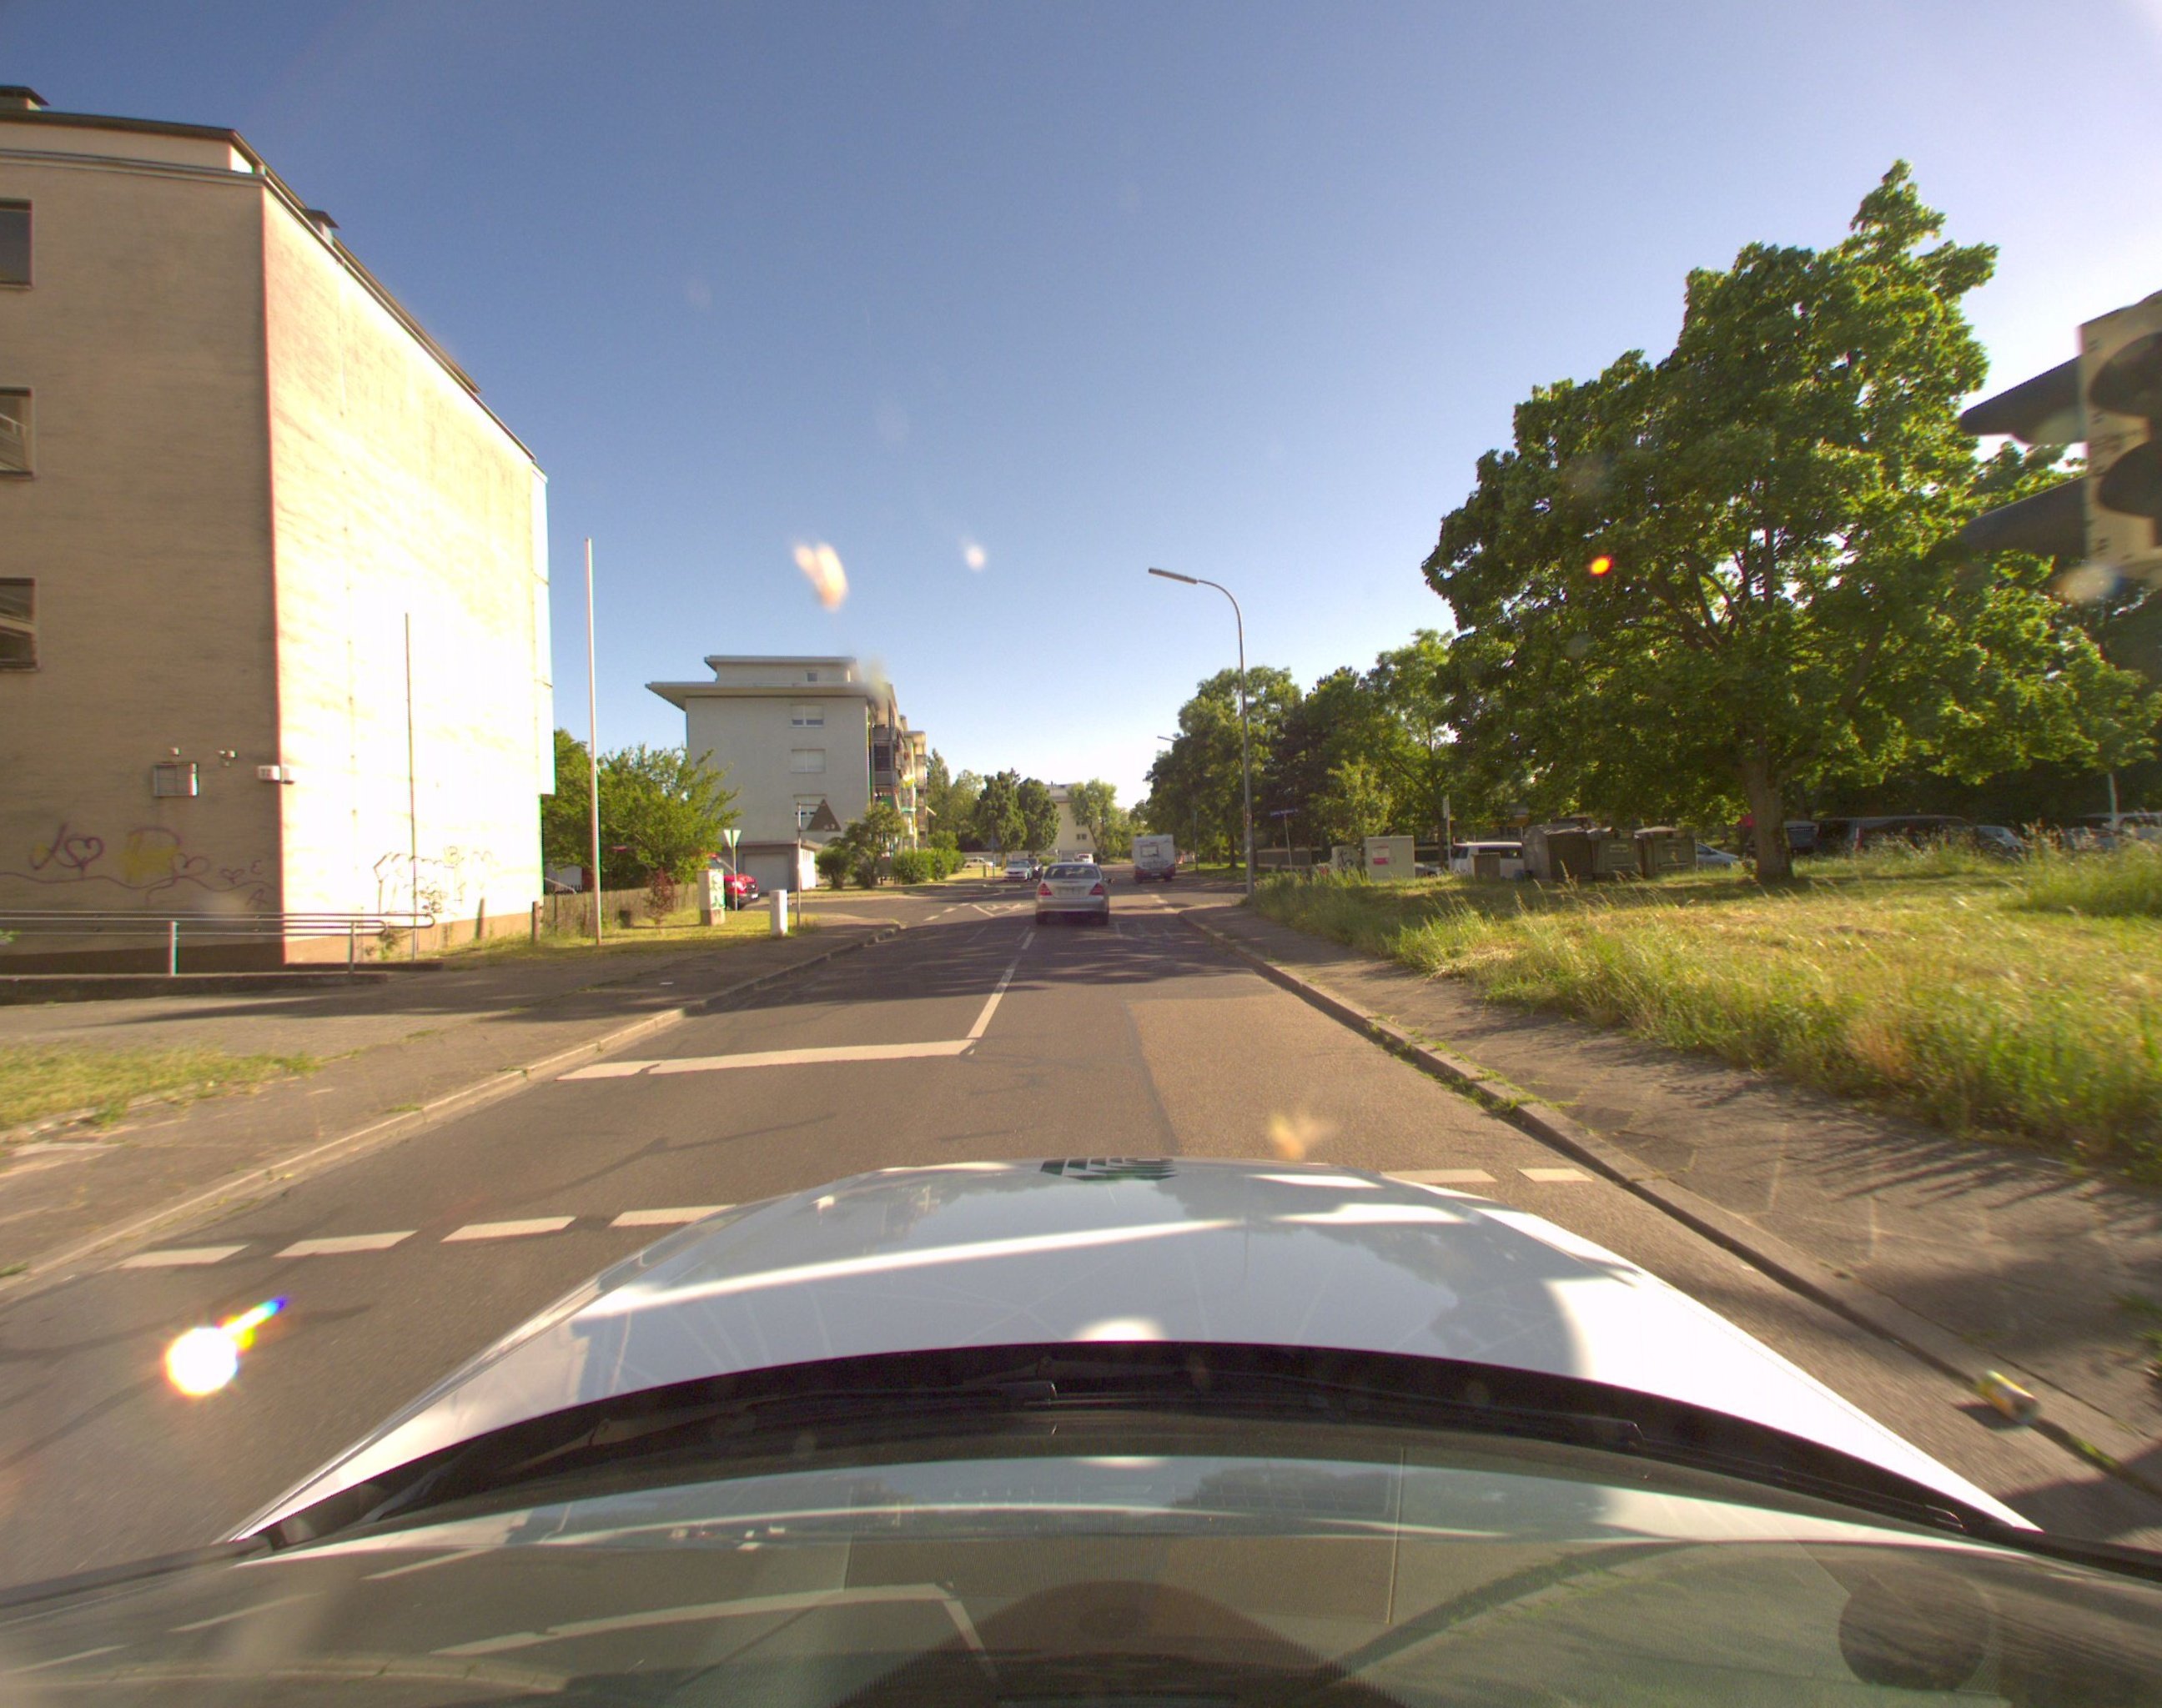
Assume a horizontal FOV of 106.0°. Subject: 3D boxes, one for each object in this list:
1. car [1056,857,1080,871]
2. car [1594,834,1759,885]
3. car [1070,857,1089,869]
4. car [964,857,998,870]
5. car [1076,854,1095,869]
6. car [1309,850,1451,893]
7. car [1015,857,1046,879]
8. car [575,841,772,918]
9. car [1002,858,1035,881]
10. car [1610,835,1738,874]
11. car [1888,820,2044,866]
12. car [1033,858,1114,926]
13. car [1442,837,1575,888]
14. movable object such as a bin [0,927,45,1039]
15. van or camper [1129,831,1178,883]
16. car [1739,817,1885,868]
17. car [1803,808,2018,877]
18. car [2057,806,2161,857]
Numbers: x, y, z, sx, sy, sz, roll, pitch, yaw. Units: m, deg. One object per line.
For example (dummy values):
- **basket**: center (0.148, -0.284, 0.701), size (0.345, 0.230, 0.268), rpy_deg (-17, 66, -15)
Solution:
- **car**: center (-1.422, 1.049, 91.742), size (2.025, 1.493, 5.264), rpy_deg (0, 0, 6)
- **car**: center (20.106, 0.173, 27.657), size (4.081, 1.541, 1.977), rpy_deg (-2, 1, 6)
- **car**: center (-0.174, 1.115, 104.527), size (1.823, 1.518, 4.229), rpy_deg (0, 0, 7)
- **car**: center (-16.592, 1.536, 134.978), size (5.069, 1.951, 2.245), rpy_deg (-3, 0, 13)
- **car**: center (0.624, 1.024, 110.987), size (2.003, 1.885, 5.200), rpy_deg (0, 0, 7)
- **car**: center (10.493, 0.586, 28.803), size (4.404, 1.337, 1.749), rpy_deg (-1, 1, 5)
- **car**: center (-3.834, 1.058, 63.006), size (1.907, 1.604, 4.814), rpy_deg (0, 0, 2)
- **car**: center (-14.710, 0.877, 29.693), size (5.886, 2.428, 2.213), rpy_deg (-3, 1, 0)
- **car**: center (-4.272, 1.042, 56.477), size (1.639, 1.466, 4.335), rpy_deg (-1, 0, 4)
- **car**: center (24.001, 0.010, 33.087), size (3.848, 1.396, 1.789), rpy_deg (-2, 1, 4)
- **car**: center (34.766, -0.423, 32.091), size (3.850, 1.611, 2.001), rpy_deg (-2, 0, 2)
- **car**: center (-0.164, 0.845, 19.601), size (1.727, 1.434, 3.437), rpy_deg (-2, 0, 0)
- **car**: center (14.855, 0.291, 28.471), size (3.663, 1.578, 1.832), rpy_deg (-2, 0, 8)
- **movable object such as a bin**: center (-10.760, 1.271, 7.877), size (0.629, 1.048, 0.697), rpy_deg (-2, -1, -23)
- **van or camper**: center (4.135, 0.167, 47.506), size (2.342, 2.596, 6.430), rpy_deg (-5, 0, 2)
- **car**: center (29.231, -0.458, 32.699), size (3.841, 1.851, 2.006), rpy_deg (-2, 0, 10)
- **car**: center (27.289, -0.365, 26.978), size (4.478, 2.012, 2.279), rpy_deg (-2, 0, 8)
- **car**: center (40.504, -0.907, 30.749), size (4.428, 1.807, 2.005), rpy_deg (-3, 0, 8)
